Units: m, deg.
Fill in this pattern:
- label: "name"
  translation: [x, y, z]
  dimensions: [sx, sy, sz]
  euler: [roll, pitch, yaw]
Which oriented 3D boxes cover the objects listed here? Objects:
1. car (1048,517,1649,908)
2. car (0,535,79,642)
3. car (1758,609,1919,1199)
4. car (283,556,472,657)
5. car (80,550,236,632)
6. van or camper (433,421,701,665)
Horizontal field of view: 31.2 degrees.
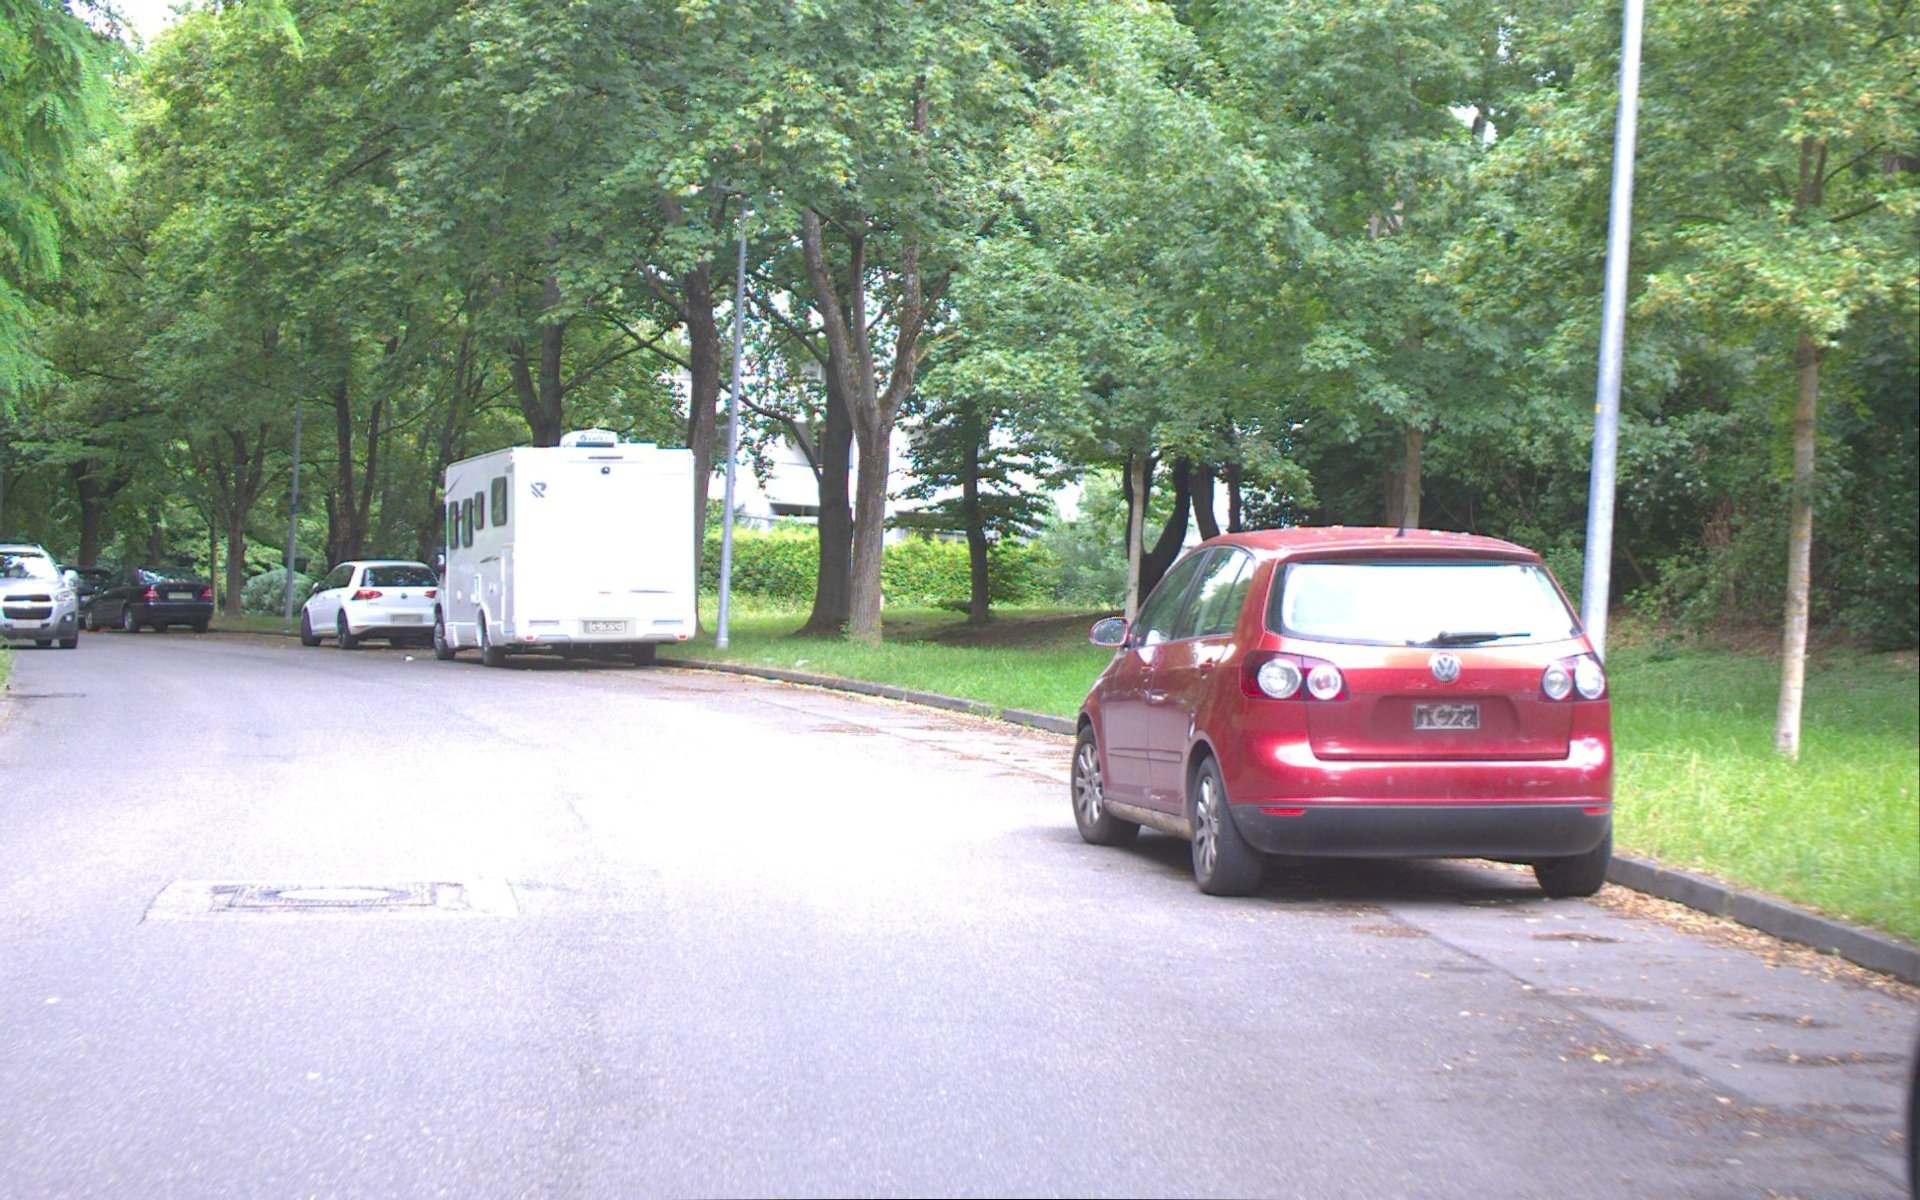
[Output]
- label: "car"
  translation: [1.625, 0.437, 15.805]
  dimensions: [1.738, 1.557, 4.001]
  euler: [1, 0, -9]
- label: "car"
  translation: [-15.660, -0.221, 56.868]
  dimensions: [1.857, 1.658, 4.572]
  euler: [-1, 2, -17]
- label: "car"
  translation: [2.688, 0.747, 4.913]
  dimensions: [1.750, 1.332, 4.416]
  euler: [2, 1, -4]
- label: "car"
  translation: [-9.803, 0.088, 57.615]
  dimensions: [1.993, 1.468, 4.001]
  euler: [3, 1, -26]
- label: "car"
  translation: [-16.970, -0.207, 72.659]
  dimensions: [1.993, 1.495, 4.000]
  euler: [3, 1, -31]
- label: "van or camper"
  translation: [-5.240, -0.770, 45.138]
  dimensions: [2.428, 2.997, 5.211]
  euler: [0, 2, -19]
